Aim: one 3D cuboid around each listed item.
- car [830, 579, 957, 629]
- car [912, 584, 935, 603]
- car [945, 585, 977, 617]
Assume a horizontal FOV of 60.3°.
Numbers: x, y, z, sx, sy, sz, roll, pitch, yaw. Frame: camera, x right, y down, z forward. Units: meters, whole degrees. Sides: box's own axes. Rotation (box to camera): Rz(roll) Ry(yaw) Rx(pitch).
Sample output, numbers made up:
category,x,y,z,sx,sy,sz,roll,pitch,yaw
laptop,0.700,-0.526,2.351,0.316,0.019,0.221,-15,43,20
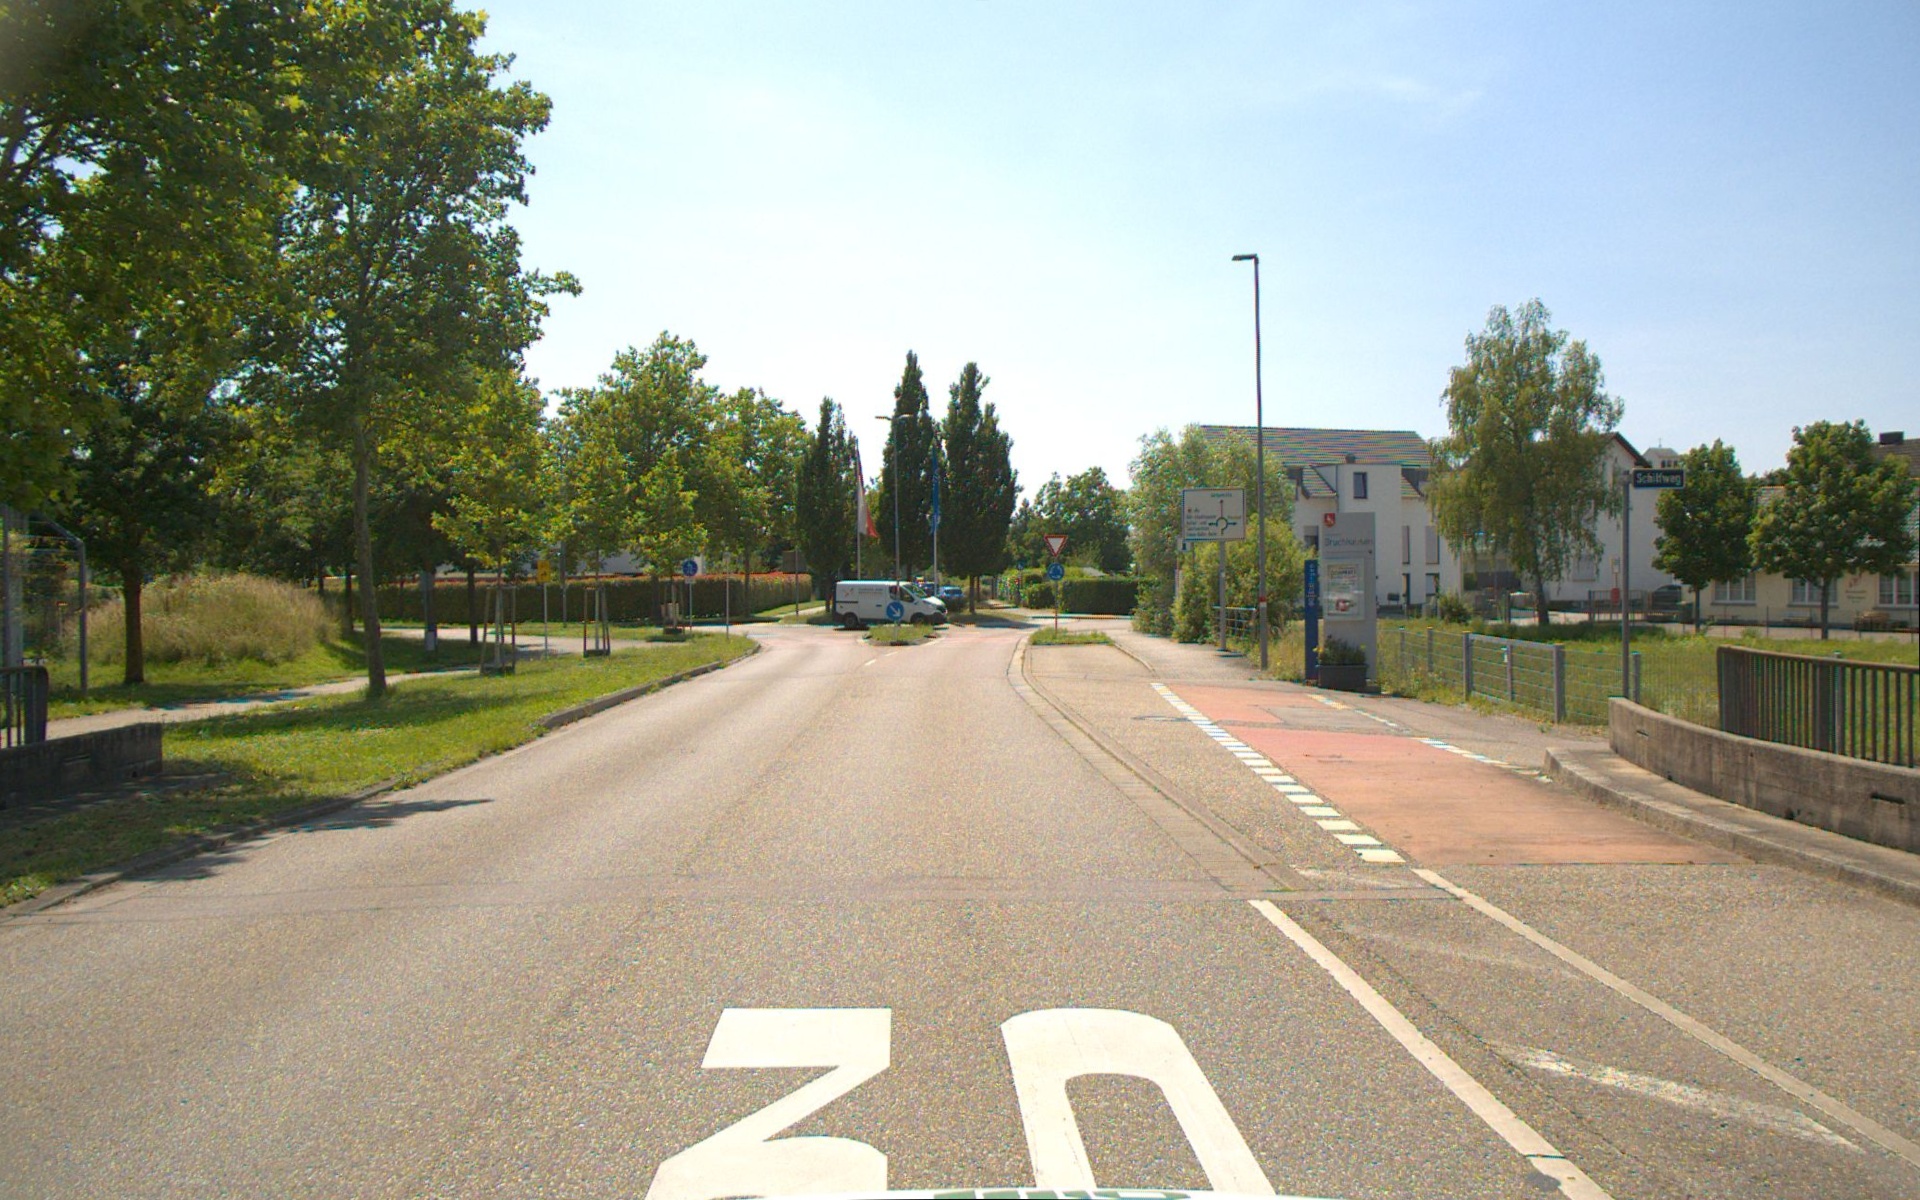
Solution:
category,x,y,z,sx,sy,sz,roll,pitch,yaw
car,-2.814,0.147,70.416,5.022,2.049,2.136,1,0,13
car,-3.461,-0.614,156.723,1.954,1.801,3.997,1,0,-3
car,0.053,0.069,103.732,1.884,1.919,3.999,1,0,-2
